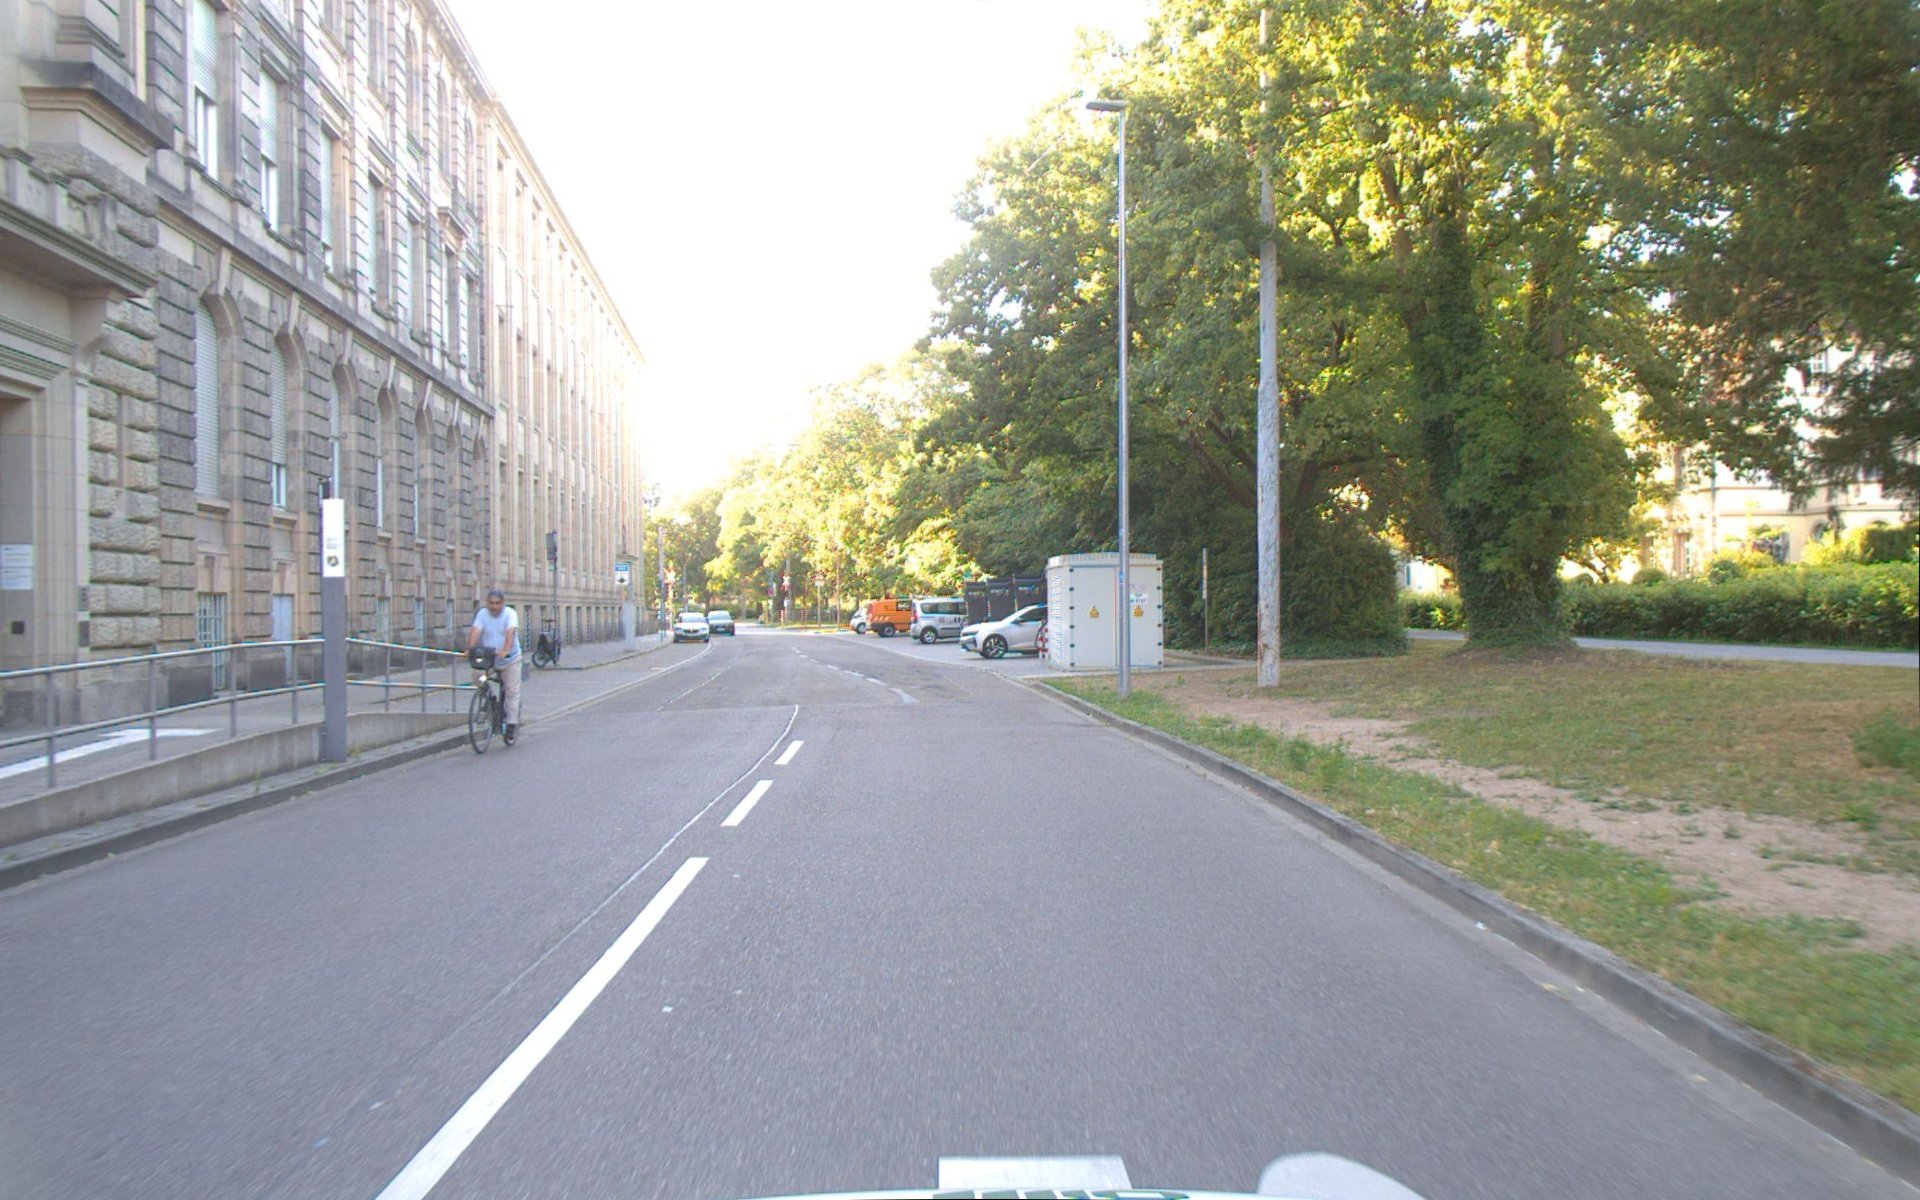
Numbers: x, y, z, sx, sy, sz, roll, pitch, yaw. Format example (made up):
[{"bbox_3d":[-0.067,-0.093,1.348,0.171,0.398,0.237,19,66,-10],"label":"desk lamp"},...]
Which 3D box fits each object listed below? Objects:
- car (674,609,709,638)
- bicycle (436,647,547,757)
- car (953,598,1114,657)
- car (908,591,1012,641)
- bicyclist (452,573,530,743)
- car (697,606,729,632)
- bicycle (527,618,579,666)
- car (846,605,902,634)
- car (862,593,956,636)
[{"bbox_3d":[-13.630,1.181,83.954,1.696,1.422,4.363,-1,0,-9],"label":"car"},{"bbox_3d":[-5.219,1.108,18.545,0.649,1.089,2.152,-1,0,-1],"label":"bicycle"},{"bbox_3d":[2.092,0.783,47.492,4.357,1.495,1.779,-2,0,-8],"label":"car"},{"bbox_3d":[-0.026,0.664,69.542,4.147,1.892,1.997,-2,-1,-6],"label":"car"},{"bbox_3d":[-5.231,0.634,18.473,0.632,1.838,0.780,-1,0,-1],"label":"bicyclist"},{"bbox_3d":[-15.137,1.149,101.196,1.844,1.492,4.363,-1,0,-9],"label":"car"},{"bbox_3d":[-10.011,1.016,40.723,0.835,1.121,1.981,1,0,-3],"label":"bicycle"},{"bbox_3d":[-5.136,1.157,98.723,3.090,1.529,1.535,-3,0,-14],"label":"car"},{"bbox_3d":[-2.754,0.796,88.682,4.737,2.049,1.796,-3,0,-14],"label":"car"}]
